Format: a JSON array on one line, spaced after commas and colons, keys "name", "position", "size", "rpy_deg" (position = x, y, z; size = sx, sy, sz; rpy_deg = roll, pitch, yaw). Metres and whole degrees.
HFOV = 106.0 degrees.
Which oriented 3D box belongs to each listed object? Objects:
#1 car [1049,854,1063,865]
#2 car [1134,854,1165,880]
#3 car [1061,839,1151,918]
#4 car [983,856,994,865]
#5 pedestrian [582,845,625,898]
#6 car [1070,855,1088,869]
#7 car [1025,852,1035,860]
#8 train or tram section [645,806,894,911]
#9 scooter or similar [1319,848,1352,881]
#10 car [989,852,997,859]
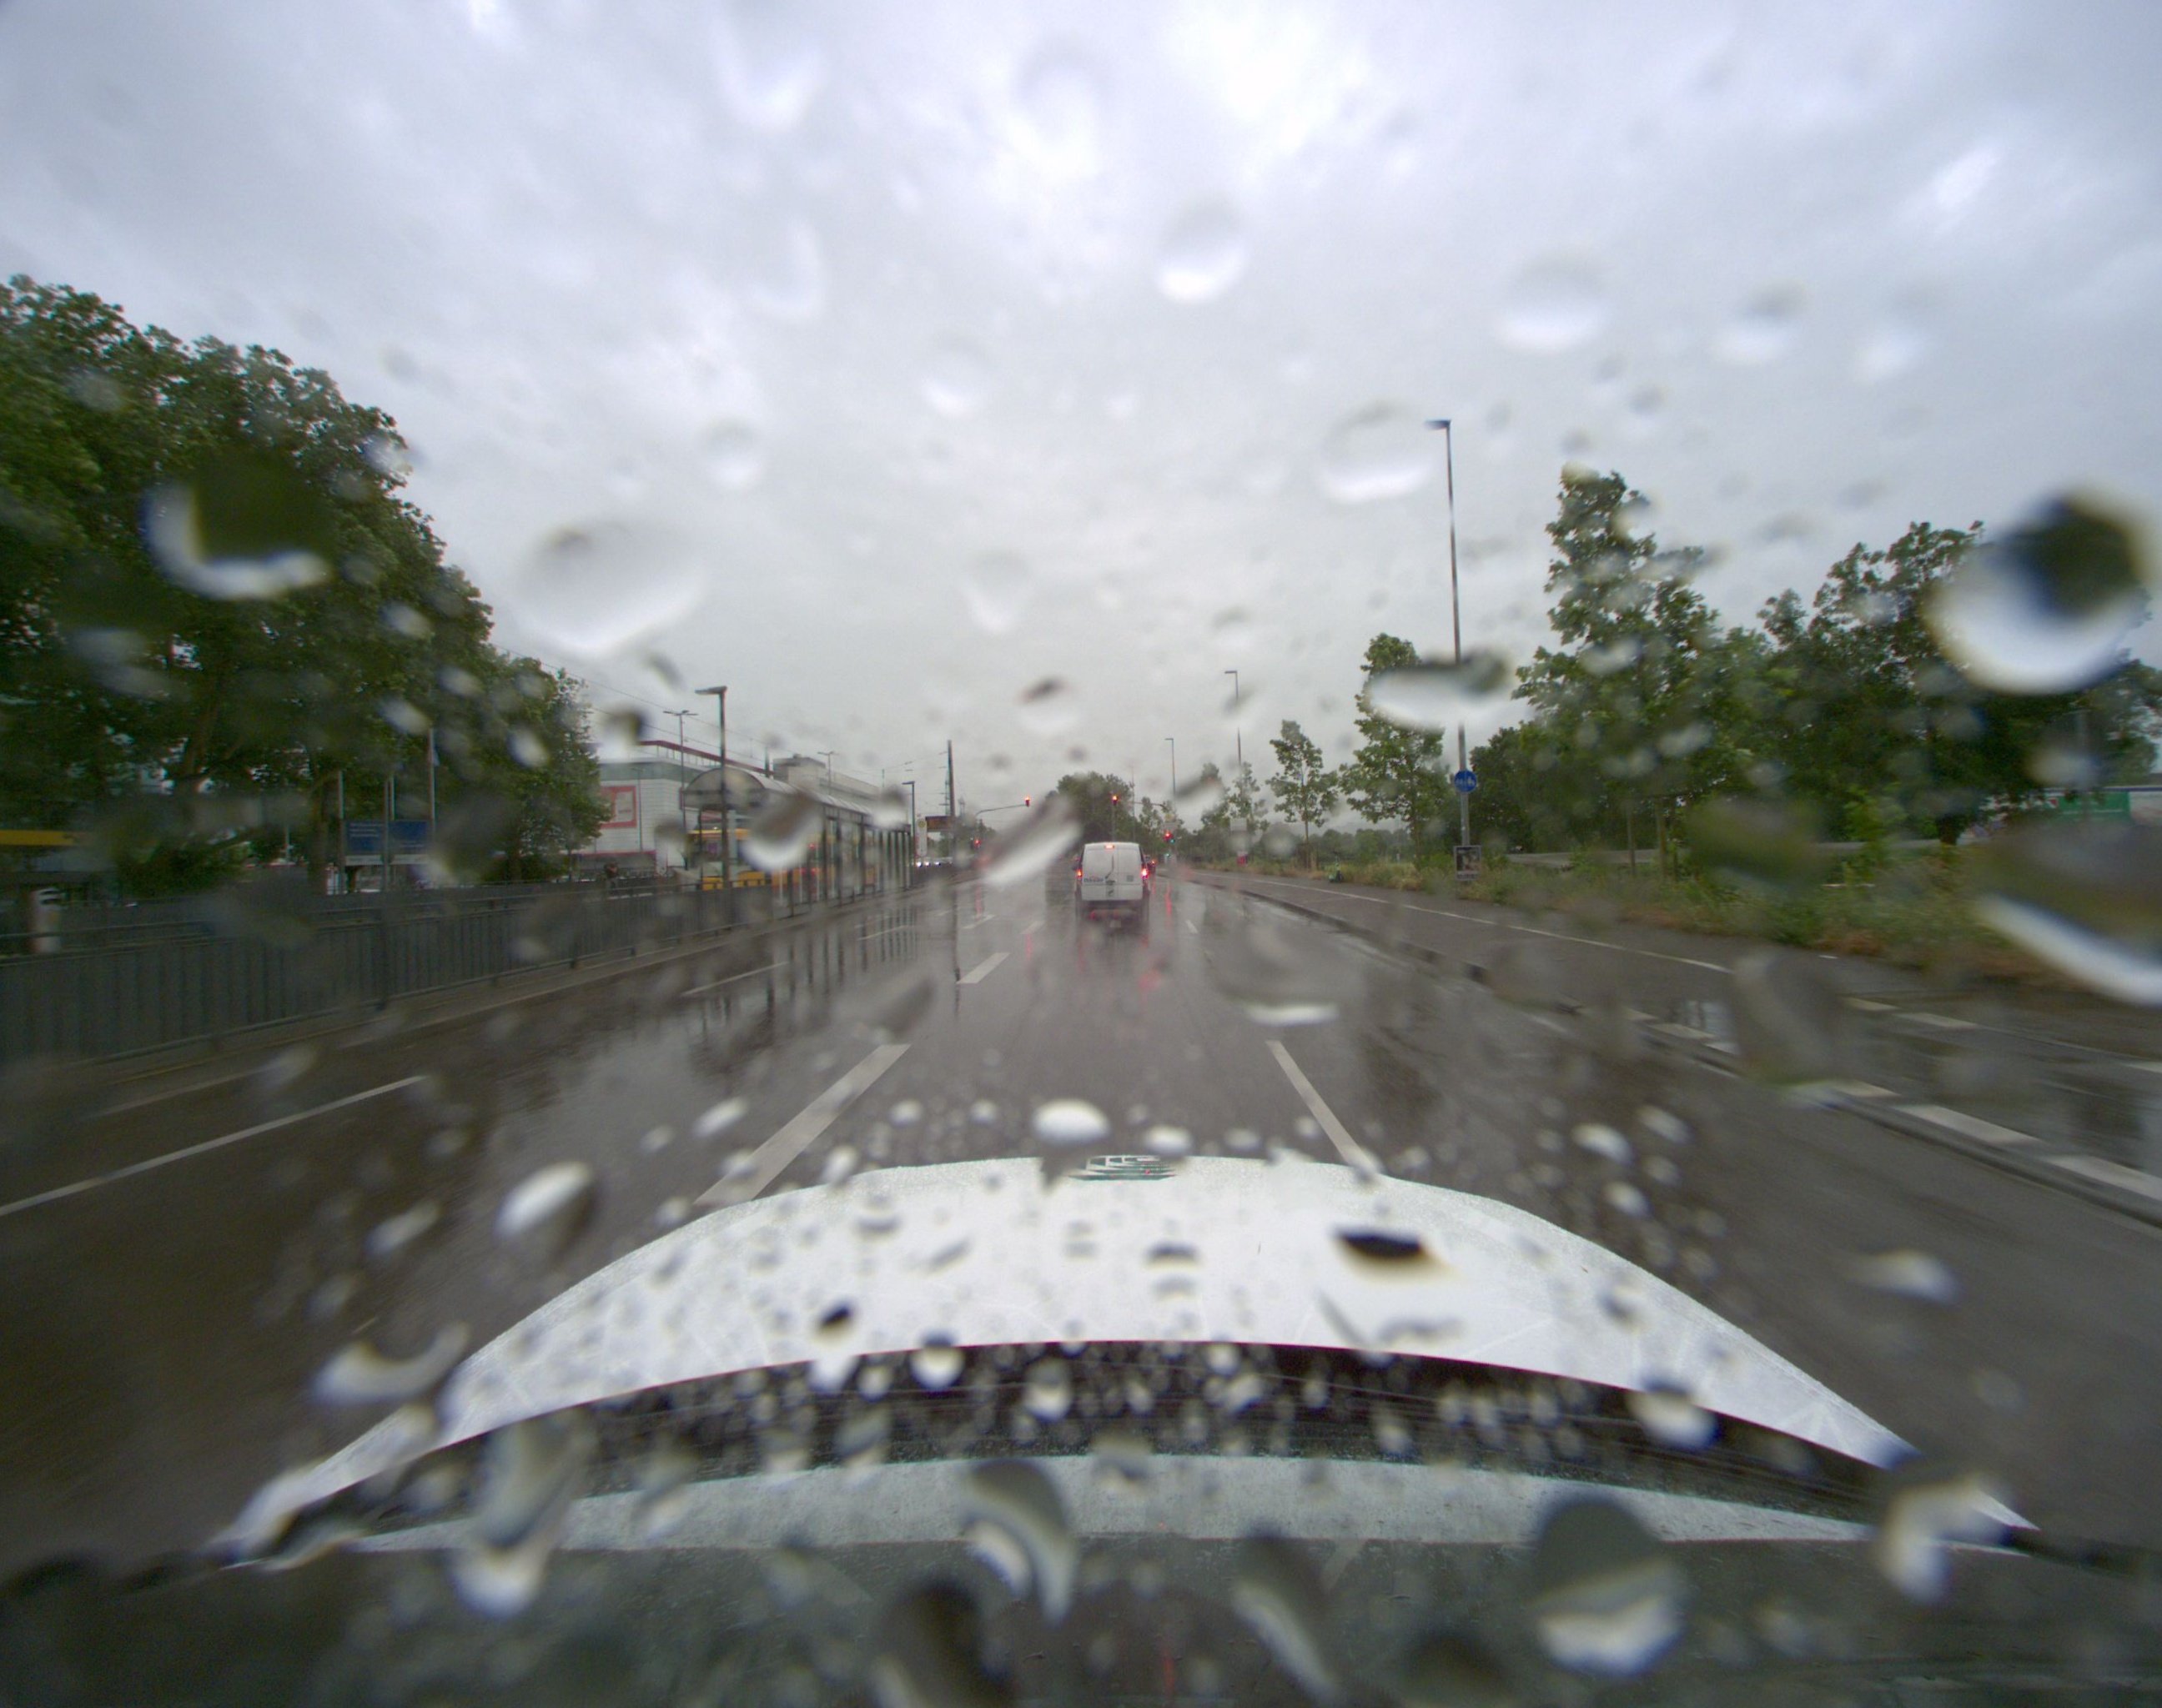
[{"name": "car", "position": [-4.051, 0.922, 129.174], "size": [1.991, 1.750, 3.992], "rpy_deg": [0, 0, -5]}, {"name": "car", "position": [4.610, 0.858, 55.501], "size": [1.985, 1.750, 4.003], "rpy_deg": [0, 0, 3]}, {"name": "car", "position": [0.614, 0.560, 20.440], "size": [2.017, 1.775, 4.275], "rpy_deg": [0, 0, 1]}, {"name": "car", "position": [-22.155, 1.570, 194.394], "size": [1.985, 2.014, 4.003], "rpy_deg": [0, 0, 3]}, {"name": "pedestrian", "position": [-18.432, 0.671, 31.465], "size": [1.086, 2.014, 1.094], "rpy_deg": [0, 0, -6]}, {"name": "car", "position": [-0.297, 0.977, 102.580], "size": [1.991, 1.750, 3.992], "rpy_deg": [0, 0, -5]}, {"name": "car", "position": [-11.052, 0.507, 177.264], "size": [1.991, 1.750, 3.992], "rpy_deg": [0, 0, -5]}, {"name": "train or tram section", "position": [-15.090, 0.210, 44.890], "size": [3.759, 4.036, 27.078], "rpy_deg": [0, 0, -1]}, {"name": "scooter or similar", "position": [9.545, 0.383, 30.594], "size": [0.641, 1.195, 1.562], "rpy_deg": [-2, 0, -2]}, {"name": "car", "position": [-25.950, 0.499, 239.763], "size": [1.988, 2.014, 3.998], "rpy_deg": [0, 0, -1]}]
